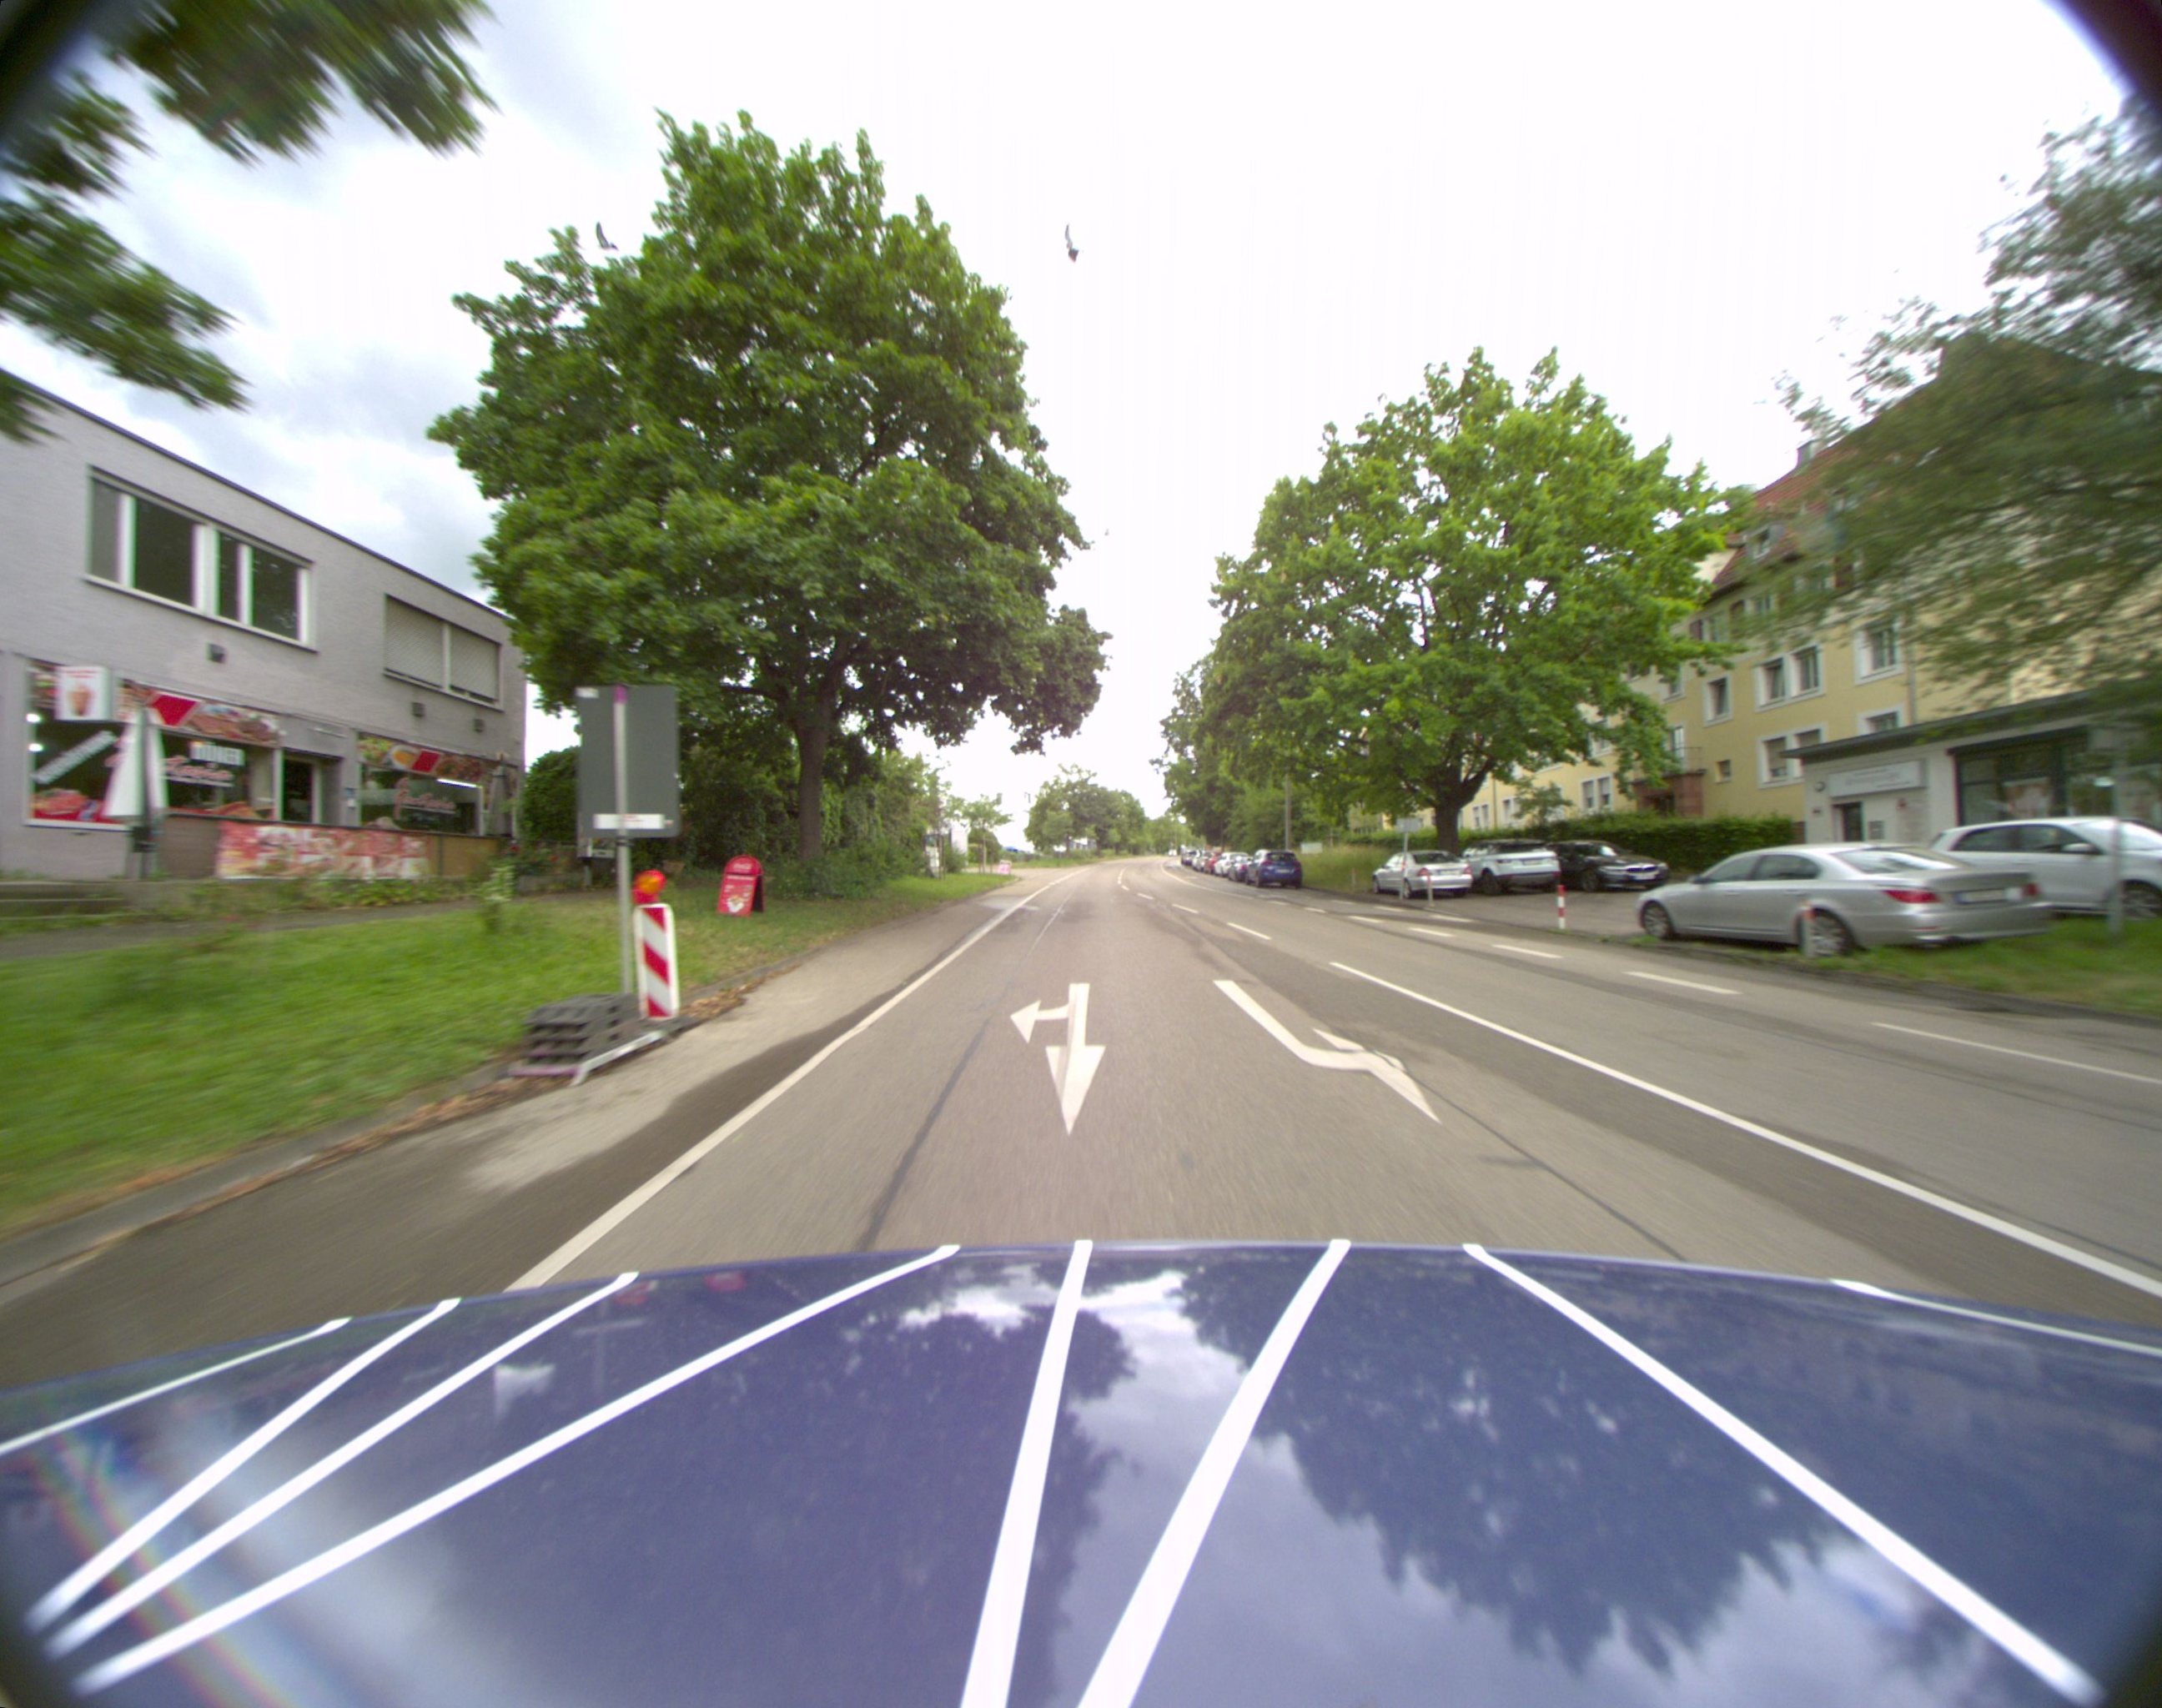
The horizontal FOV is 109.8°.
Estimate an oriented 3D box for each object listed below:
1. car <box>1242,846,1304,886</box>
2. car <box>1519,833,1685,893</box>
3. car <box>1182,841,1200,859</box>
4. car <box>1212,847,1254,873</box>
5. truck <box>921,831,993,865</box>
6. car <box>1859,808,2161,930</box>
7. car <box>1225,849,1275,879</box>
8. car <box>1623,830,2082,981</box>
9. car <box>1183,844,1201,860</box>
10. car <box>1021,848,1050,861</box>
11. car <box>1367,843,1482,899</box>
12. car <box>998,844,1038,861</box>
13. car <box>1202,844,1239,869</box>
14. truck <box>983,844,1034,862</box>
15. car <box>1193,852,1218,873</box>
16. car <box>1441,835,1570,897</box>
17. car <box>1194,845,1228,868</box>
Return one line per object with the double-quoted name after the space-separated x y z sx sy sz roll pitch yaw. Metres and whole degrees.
8.485 0.520 33.941 1.719 1.603 4.536 -1 -1 2 "car"
14.962 0.226 22.179 1.766 1.462 4.440 -4 0 1 "car"
12.786 -0.451 88.470 1.870 1.952 5.129 -1 0 7 "car"
9.083 0.307 45.655 1.719 1.451 4.756 -1 1 2 "car"
-13.081 -0.676 80.217 7.192 3.457 2.615 -1 0 -16 "truck"
15.256 0.168 11.899 1.766 1.624 4.288 -2 0 0 "car"
8.653 0.478 39.178 1.719 1.381 4.338 -1 1 2 "car"
10.268 0.557 10.819 1.766 1.624 4.752 -2 0 1 "car"
11.342 -0.221 77.829 1.770 1.624 4.160 -1 0 7 "car"
-7.954 0.122 132.720 4.584 2.023 2.066 -2 1 -32 "car"
10.534 0.459 23.654 1.765 1.526 4.392 -2 0 3 "car"
-8.873 -0.183 106.736 5.265 2.175 2.068 -2 1 -17 "car"
9.237 0.146 50.588 1.719 1.564 4.371 -1 1 2 "car"
-9.444 -0.148 99.088 6.259 2.199 2.243 -2 1 -20 "truck"
10.039 0.654 61.696 1.770 1.564 4.761 0 1 6 "car"
12.729 0.315 23.096 1.765 1.624 4.000 -4 0 3 "car"
9.544 0.151 56.055 1.873 1.564 4.120 -1 1 2 "car"
